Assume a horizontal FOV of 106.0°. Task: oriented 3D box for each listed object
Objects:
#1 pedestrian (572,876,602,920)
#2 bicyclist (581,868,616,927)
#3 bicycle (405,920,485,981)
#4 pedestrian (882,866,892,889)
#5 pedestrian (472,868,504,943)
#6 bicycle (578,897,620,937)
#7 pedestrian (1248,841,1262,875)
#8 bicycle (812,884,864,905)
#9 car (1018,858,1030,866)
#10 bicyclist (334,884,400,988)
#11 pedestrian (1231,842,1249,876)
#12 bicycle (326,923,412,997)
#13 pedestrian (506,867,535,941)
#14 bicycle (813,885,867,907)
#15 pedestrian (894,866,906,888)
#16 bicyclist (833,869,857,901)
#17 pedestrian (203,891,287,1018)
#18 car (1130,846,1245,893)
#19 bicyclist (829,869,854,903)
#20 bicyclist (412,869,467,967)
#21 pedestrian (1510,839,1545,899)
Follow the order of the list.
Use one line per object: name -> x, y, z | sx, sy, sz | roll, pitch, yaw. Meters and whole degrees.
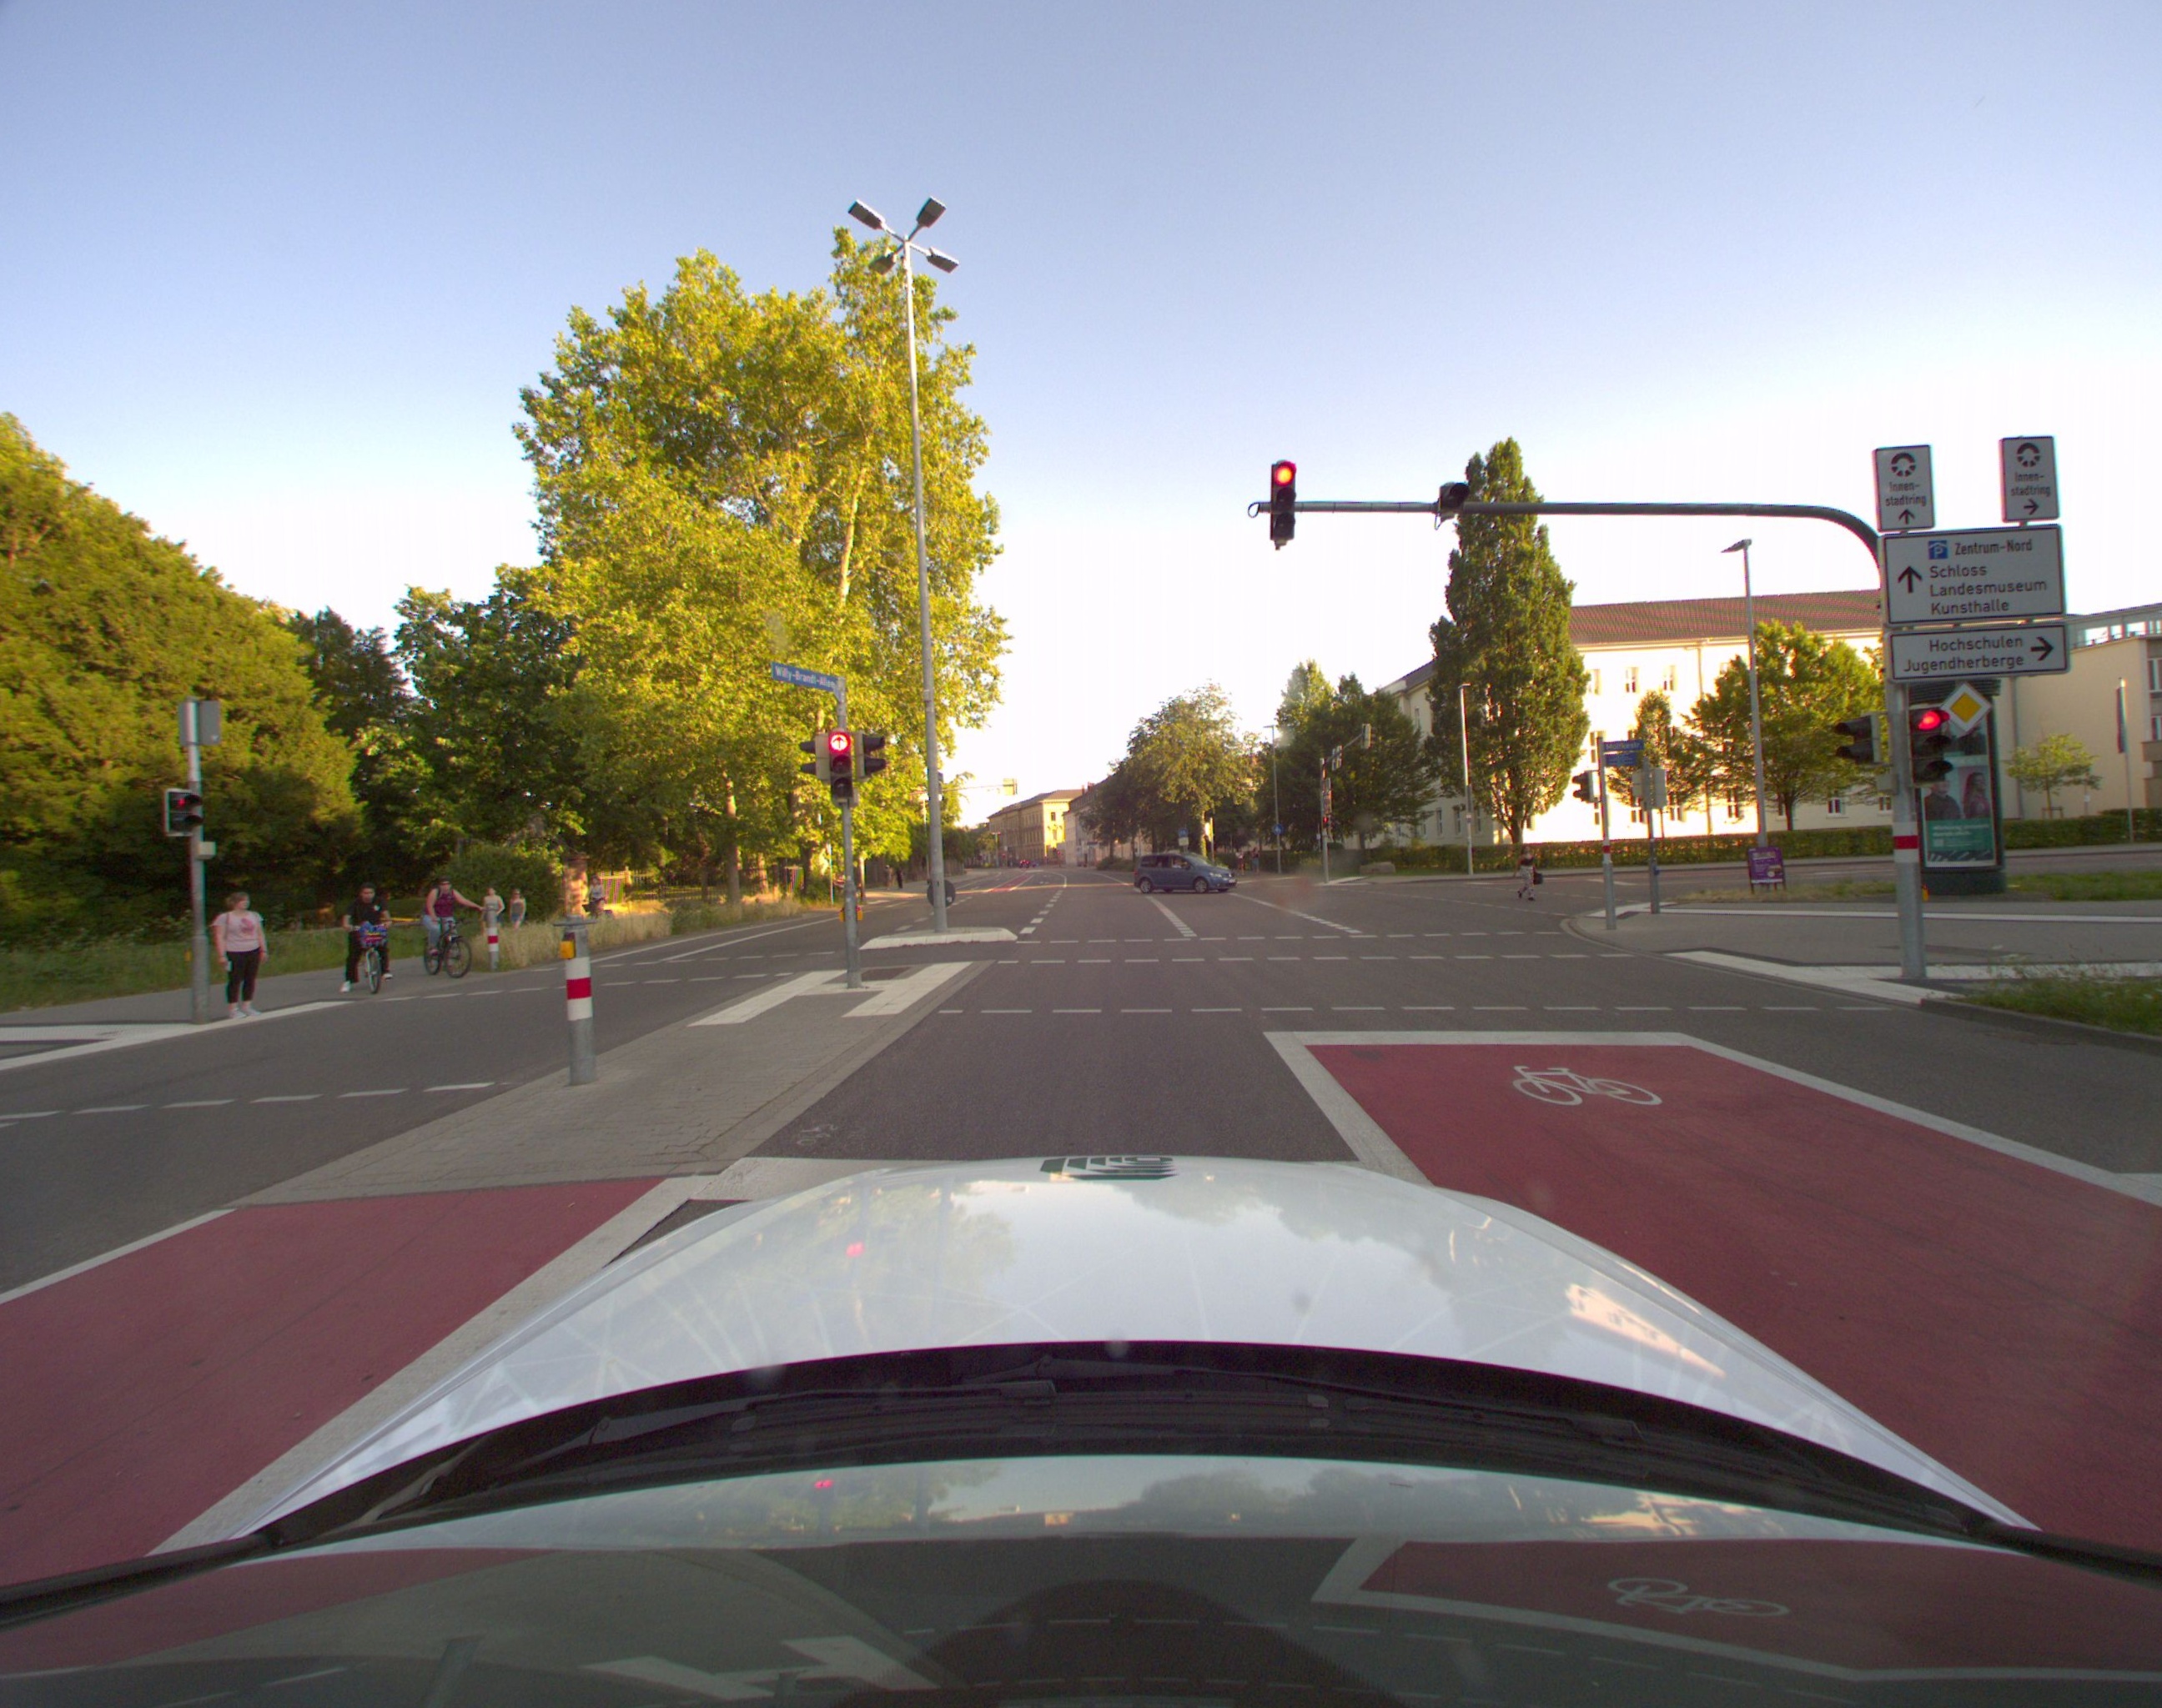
pedestrian -> -23.605, 2.078, 38.942 | 0.759, 2.014, 1.075 | -2, -1, -5
bicyclist -> -14.668, 1.303, 24.776 | 0.758, 1.728, 0.937 | -1, -1, -23
bicycle -> -11.870, 1.764, 15.179 | 1.749, 1.030, 0.583 | -3, 0, 32
pedestrian -> -13.920, 1.681, 58.474 | 0.533, 1.596, 0.591 | -3, 0, 1
pedestrian -> -16.305, 1.394, 22.391 | 0.654, 2.014, 0.599 | -1, -1, -37
bicycle -> -14.661, 1.894, 24.817 | 0.742, 1.033, 2.280 | -1, 0, -22
pedestrian -> 10.263, 0.240, 48.014 | 0.633, 2.014, 0.720 | -2, -1, -2
bicycle -> -12.648, 2.119, 42.494 | 2.420, 0.924, 0.775 | -3, 0, 2
car -> -11.957, 1.754, 170.244 | 1.821, 1.588, 3.983 | -4, 0, -12
bicyclist -> -11.897, 1.343, 13.573 | 0.631, 1.649, 0.634 | -3, -1, 32
pedestrian -> 9.513, 0.280, 48.712 | 0.867, 2.014, 0.723 | -2, -1, 1
bicycle -> -11.859, 1.731, 13.558 | 1.548, 1.111, 0.637 | -3, -1, 32
pedestrian -> -15.675, 1.389, 22.771 | 0.598, 2.014, 0.634 | -1, -1, -38
bicycle -> -12.024, 2.082, 40.702 | 2.420, 0.924, 0.775 | -3, 0, 2
pedestrian -> -12.959, 1.654, 58.353 | 0.597, 1.573, 0.646 | -3, 0, 1
bicyclist -> -12.322, 1.612, 42.492 | 0.954, 1.631, 0.753 | -3, 0, 2
pedestrian -> -11.762, 1.400, 11.464 | 0.604, 1.695, 0.499 | -3, 0, 3
car -> 4.229, 0.639, 32.803 | 4.241, 1.720, 1.867 | -3, 0, 43
bicyclist -> -11.963, 1.590, 40.711 | 0.954, 1.631, 0.753 | -3, 0, 2
bicyclist -> -12.015, 1.185, 15.259 | 0.631, 1.780, 0.580 | -3, -1, 32
pedestrian -> 12.465, 0.423, 22.743 | 0.597, 1.636, 0.692 | -2, 0, 2
